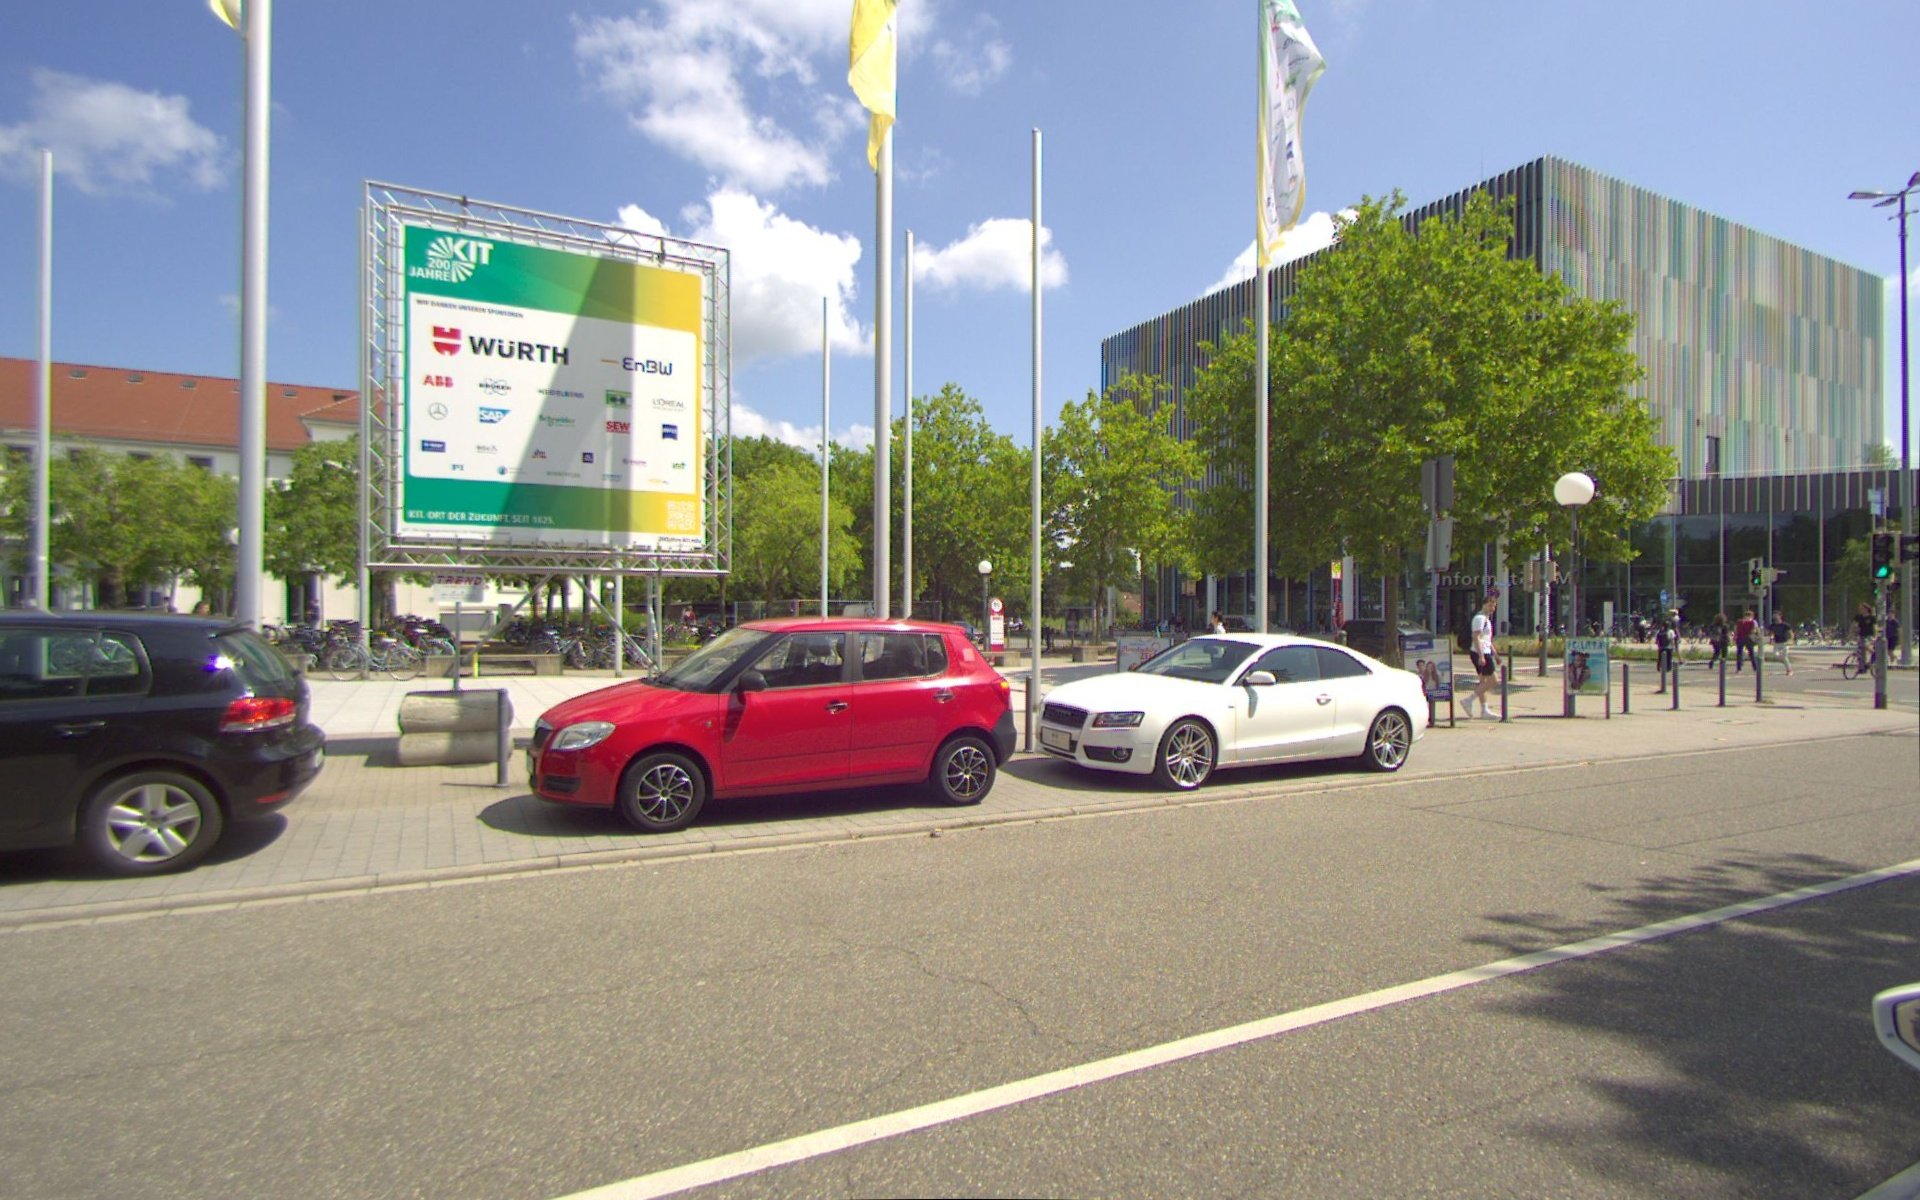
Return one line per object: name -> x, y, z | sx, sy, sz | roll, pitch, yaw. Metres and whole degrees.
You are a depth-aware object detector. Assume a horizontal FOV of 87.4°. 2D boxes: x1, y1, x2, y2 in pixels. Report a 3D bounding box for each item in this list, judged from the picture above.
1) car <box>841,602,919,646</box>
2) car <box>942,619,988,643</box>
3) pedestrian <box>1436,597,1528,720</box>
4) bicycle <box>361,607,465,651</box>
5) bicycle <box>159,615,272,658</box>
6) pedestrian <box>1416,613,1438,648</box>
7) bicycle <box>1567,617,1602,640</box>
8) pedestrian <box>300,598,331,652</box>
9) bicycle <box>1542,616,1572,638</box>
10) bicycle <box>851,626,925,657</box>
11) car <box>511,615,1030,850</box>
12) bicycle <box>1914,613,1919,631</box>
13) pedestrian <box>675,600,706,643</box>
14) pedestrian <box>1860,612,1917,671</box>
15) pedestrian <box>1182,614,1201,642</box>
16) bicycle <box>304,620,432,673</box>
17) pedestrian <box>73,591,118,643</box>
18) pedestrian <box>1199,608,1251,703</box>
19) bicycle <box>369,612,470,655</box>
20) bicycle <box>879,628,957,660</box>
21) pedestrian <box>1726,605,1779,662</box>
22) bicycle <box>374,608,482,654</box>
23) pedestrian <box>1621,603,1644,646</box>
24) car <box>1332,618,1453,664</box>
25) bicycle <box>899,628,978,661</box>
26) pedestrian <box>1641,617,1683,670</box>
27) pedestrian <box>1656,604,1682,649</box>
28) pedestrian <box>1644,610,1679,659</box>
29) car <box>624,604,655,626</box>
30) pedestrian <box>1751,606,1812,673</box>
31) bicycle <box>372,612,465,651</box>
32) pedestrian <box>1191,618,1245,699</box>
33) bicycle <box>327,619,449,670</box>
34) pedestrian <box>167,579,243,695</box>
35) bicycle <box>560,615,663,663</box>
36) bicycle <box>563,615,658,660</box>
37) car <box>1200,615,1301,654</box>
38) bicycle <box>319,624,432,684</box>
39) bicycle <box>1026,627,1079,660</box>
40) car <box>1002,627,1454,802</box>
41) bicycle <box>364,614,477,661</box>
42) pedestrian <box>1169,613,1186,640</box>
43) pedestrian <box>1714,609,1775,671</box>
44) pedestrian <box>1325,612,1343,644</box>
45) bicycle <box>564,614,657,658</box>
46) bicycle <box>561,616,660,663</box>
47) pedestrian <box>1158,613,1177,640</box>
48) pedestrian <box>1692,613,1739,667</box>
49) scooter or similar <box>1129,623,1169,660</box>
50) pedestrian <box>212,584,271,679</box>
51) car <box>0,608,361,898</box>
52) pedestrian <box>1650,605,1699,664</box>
car -> -3.819, 1.131, 47.225 | 1.844, 1.965, 4.739 | 0, -1, -30
car -> 0.293, 2.022, 65.421 | 1.616, 1.505, 3.980 | 0, -1, -22
pedestrian -> 8.202, 0.909, 15.820 | 1.069, 1.875, 0.721 | 1, -1, -10
bicycle -> -18.355, 0.963, 33.789 | 2.904, 1.430, 1.061 | 1, 0, -18
bicycle -> -25.571, 1.242, 34.581 | 2.907, 1.430, 1.142 | 1, 0, -21
pedestrian -> 32.673, 2.117, 70.276 | 1.002, 2.377, 0.969 | 1, 0, -28
bicycle -> 35.993, 1.610, 57.942 | 1.352, 1.254, 2.949 | 1, -1, 25
pedestrian -> -27.022, 1.030, 42.124 | 1.029, 2.229, 1.016 | 0, -1, -30
bicycle -> 34.764, 1.542, 58.568 | 1.178, 1.254, 2.949 | 1, -1, 25
bicycle -> -2.887, 1.647, 40.426 | 2.923, 1.165, 0.991 | 1, -1, -37
car -> -1.510, 0.902, 8.220 | 3.861, 1.487, 1.670 | 1, 1, -28
bicycle -> 85.249, 1.955, 87.725 | 2.907, 1.595, 1.119 | 1, 0, -1
pedestrian -> -14.015, 1.121, 52.219 | 1.022, 2.229, 1.157 | -1, -1, 30
pedestrian -> 29.935, 1.330, 32.393 | 1.064, 1.895, 0.832 | 0, -1, -5
pedestrian -> 18.643, 2.226, 80.870 | 1.114, 2.205, 0.968 | 1, 0, -29
bicycle -> -16.781, 1.301, 28.552 | 2.896, 1.430, 1.147 | 1, 0, -7
pedestrian -> -33.972, 0.666, 39.478 | 0.905, 2.040, 1.057 | 0, -1, -11
pedestrian -> 5.363, 1.101, 20.340 | 0.760, 1.884, 0.717 | 0, -1, -27
bicycle -> -18.688, 1.168, 34.848 | 2.904, 1.430, 1.061 | 1, 0, -18
bicycle -> -1.586, 1.661, 38.565 | 2.922, 1.163, 0.991 | 1, -1, -36
pedestrian -> 26.029, 1.094, 33.006 | 1.075, 1.843, 0.863 | 0, -1, -5
bicycle -> -17.050, 0.987, 32.282 | 2.904, 1.430, 1.061 | 1, 0, -18
pedestrian -> 40.834, 1.491, 61.001 | 0.957, 2.599, 1.014 | 1, 0, 26
car -> 16.707, 1.553, 39.009 | 1.631, 1.683, 4.267 | 0, -1, -27
bicycle -> -0.791, 1.636, 37.418 | 2.922, 1.163, 0.991 | 1, -1, -36
pedestrian -> 21.578, 1.332, 30.895 | 0.788, 1.619, 0.768 | 0, -1, -27
pedestrian -> 42.139, 1.572, 59.701 | 0.956, 2.599, 1.015 | 1, 0, 19
pedestrian -> 24.429, 1.198, 34.996 | 0.746, 1.700, 0.750 | 0, -1, -29
car -> -29.139, 1.363, 91.212 | 1.844, 1.965, 4.366 | 0, -1, -30
pedestrian -> 23.754, 1.135, 29.052 | 1.377, 1.880, 0.702 | -1, 0, -19
bicycle -> -20.329, 1.175, 37.789 | 2.907, 1.430, 1.061 | 1, 0, -21
pedestrian -> 5.490, 1.231, 21.390 | 0.736, 1.673, 0.840 | 0, -1, -27
bicycle -> -16.883, 1.312, 29.727 | 2.896, 1.430, 1.147 | 1, 0, -7
pedestrian -> -13.717, 0.661, 18.285 | 0.977, 2.040, 1.050 | 1, -1, -31
bicycle -> -10.674, 1.182, 30.838 | 2.907, 1.430, 1.061 | 1, 0, -21
bicycle -> -11.438, 1.222, 32.932 | 2.907, 1.430, 1.061 | 1, 0, -21
car -> 13.222, 1.558, 46.039 | 1.631, 1.683, 4.793 | 0, -1, -26
bicycle -> -12.596, 1.155, 21.720 | 2.068, 1.232, 0.646 | 1, 0, -28
bicycle -> 3.482, 1.629, 38.173 | 0.657, 1.128, 2.596 | 1, -1, -30
car -> 2.842, 1.022, 10.374 | 4.603, 1.414, 1.670 | 1, 1, -28
bicycle -> -16.699, 1.159, 31.196 | 2.904, 1.430, 1.061 | 1, 0, -18
pedestrian -> 18.197, 2.178, 84.019 | 1.002, 2.231, 0.969 | 1, 0, -28
pedestrian -> 23.503, 1.188, 30.086 | 1.244, 1.831, 0.807 | 0, -1, -10
pedestrian -> 28.575, 2.117, 76.703 | 0.879, 2.377, 0.969 | 1, 0, -28
bicycle -> -11.815, 1.211, 34.011 | 2.907, 1.430, 1.061 | 1, 0, -21
bicycle -> -11.067, 1.242, 31.872 | 2.907, 1.430, 1.061 | 1, 0, -21
pedestrian -> 17.017, 2.181, 82.421 | 1.114, 2.205, 0.969 | 1, 0, -28
pedestrian -> 23.675, 1.241, 31.483 | 0.847, 1.676, 0.826 | 0, -1, -12
scooter or similar -> 6.490, 1.412, 34.578 | 0.486, 1.212, 1.725 | 0, -1, -22
pedestrian -> -15.375, 0.665, 21.527 | 0.934, 1.966, 0.980 | 1, -1, -31
car -> -5.968, 0.812, 5.827 | 4.142, 1.487, 1.741 | 1, 1, -27
pedestrian -> 23.531, 1.127, 33.107 | 0.987, 1.901, 0.855 | 0, -1, -6
